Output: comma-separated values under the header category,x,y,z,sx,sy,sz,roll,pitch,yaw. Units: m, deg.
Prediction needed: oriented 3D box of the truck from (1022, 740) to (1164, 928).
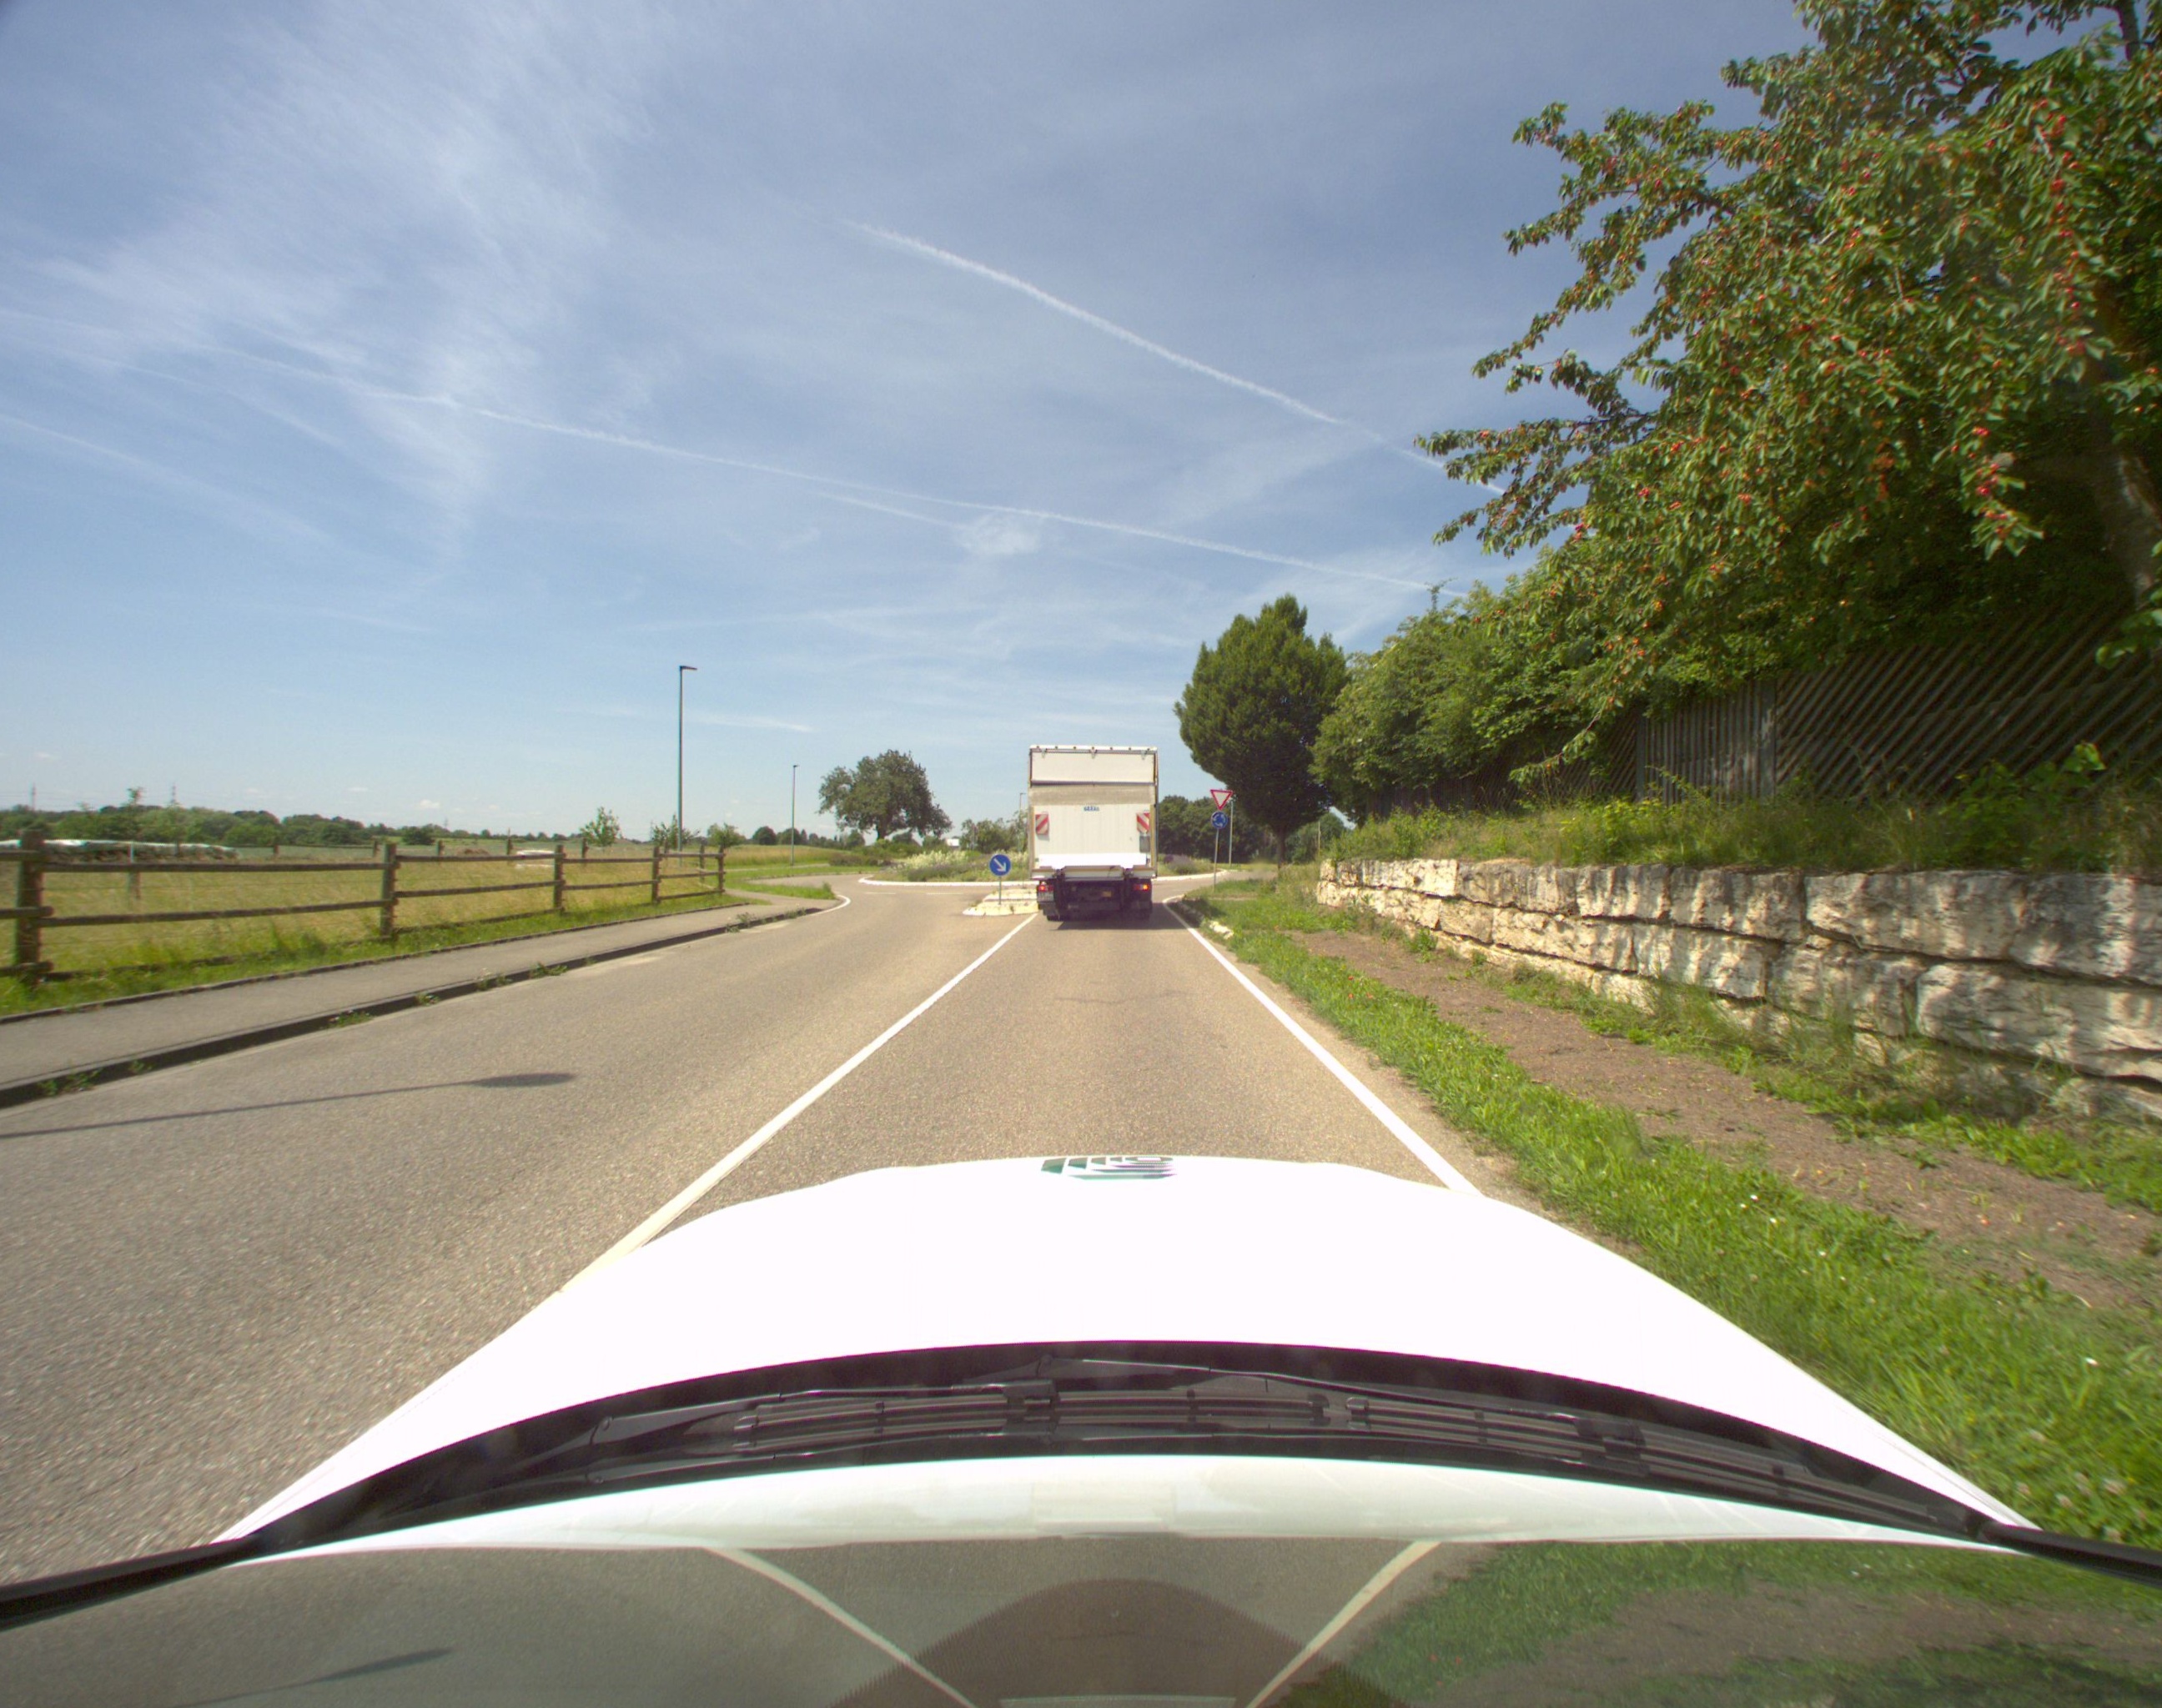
category,x,y,z,sx,sy,sz,roll,pitch,yaw
truck,0.295,-0.391,20.605,2.757,3.671,9.383,0,0,1
